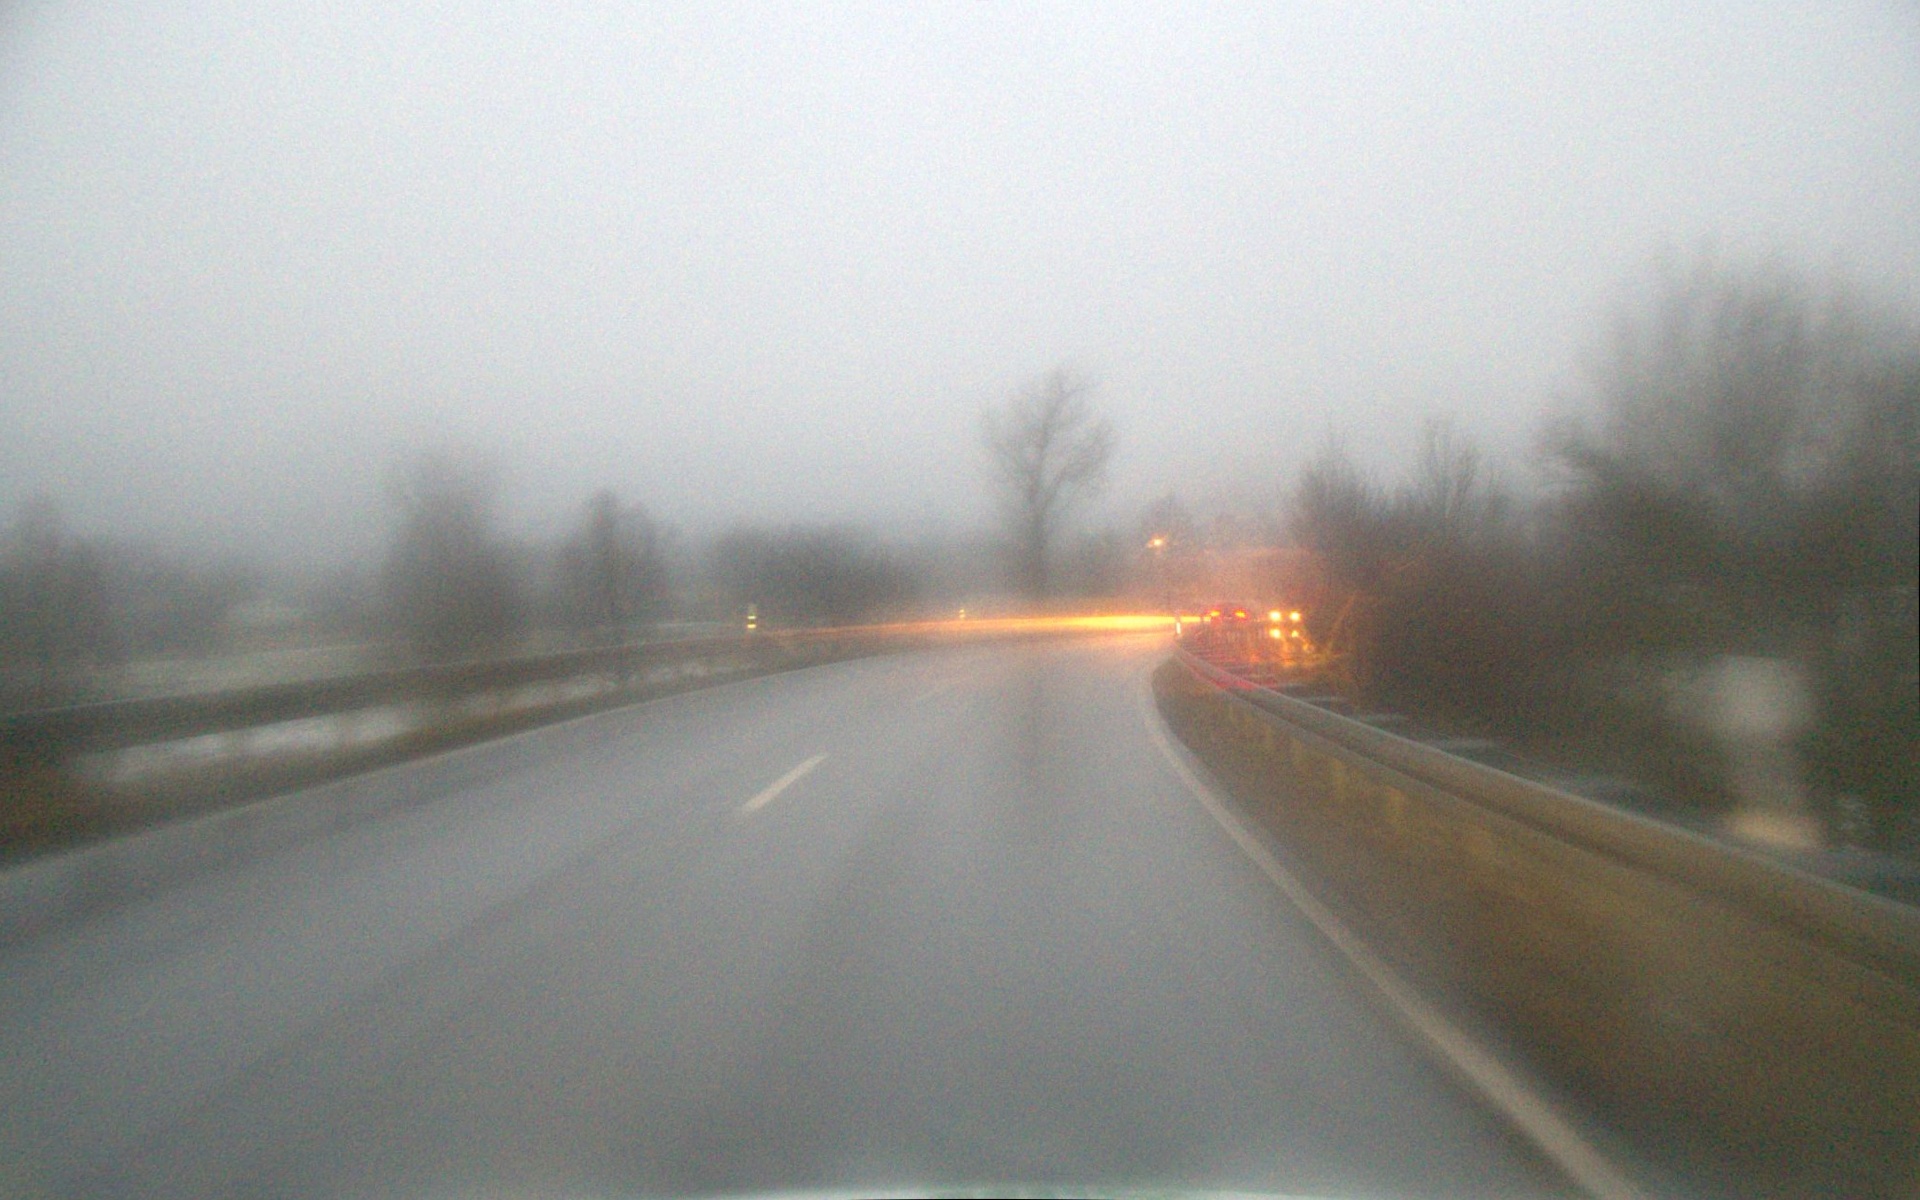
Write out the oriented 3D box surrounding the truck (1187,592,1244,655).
[{"bbox_3d":[12.518,1.154,81.323,2.478,2.919,5.926,1,-1,6],"label":"truck"}]
